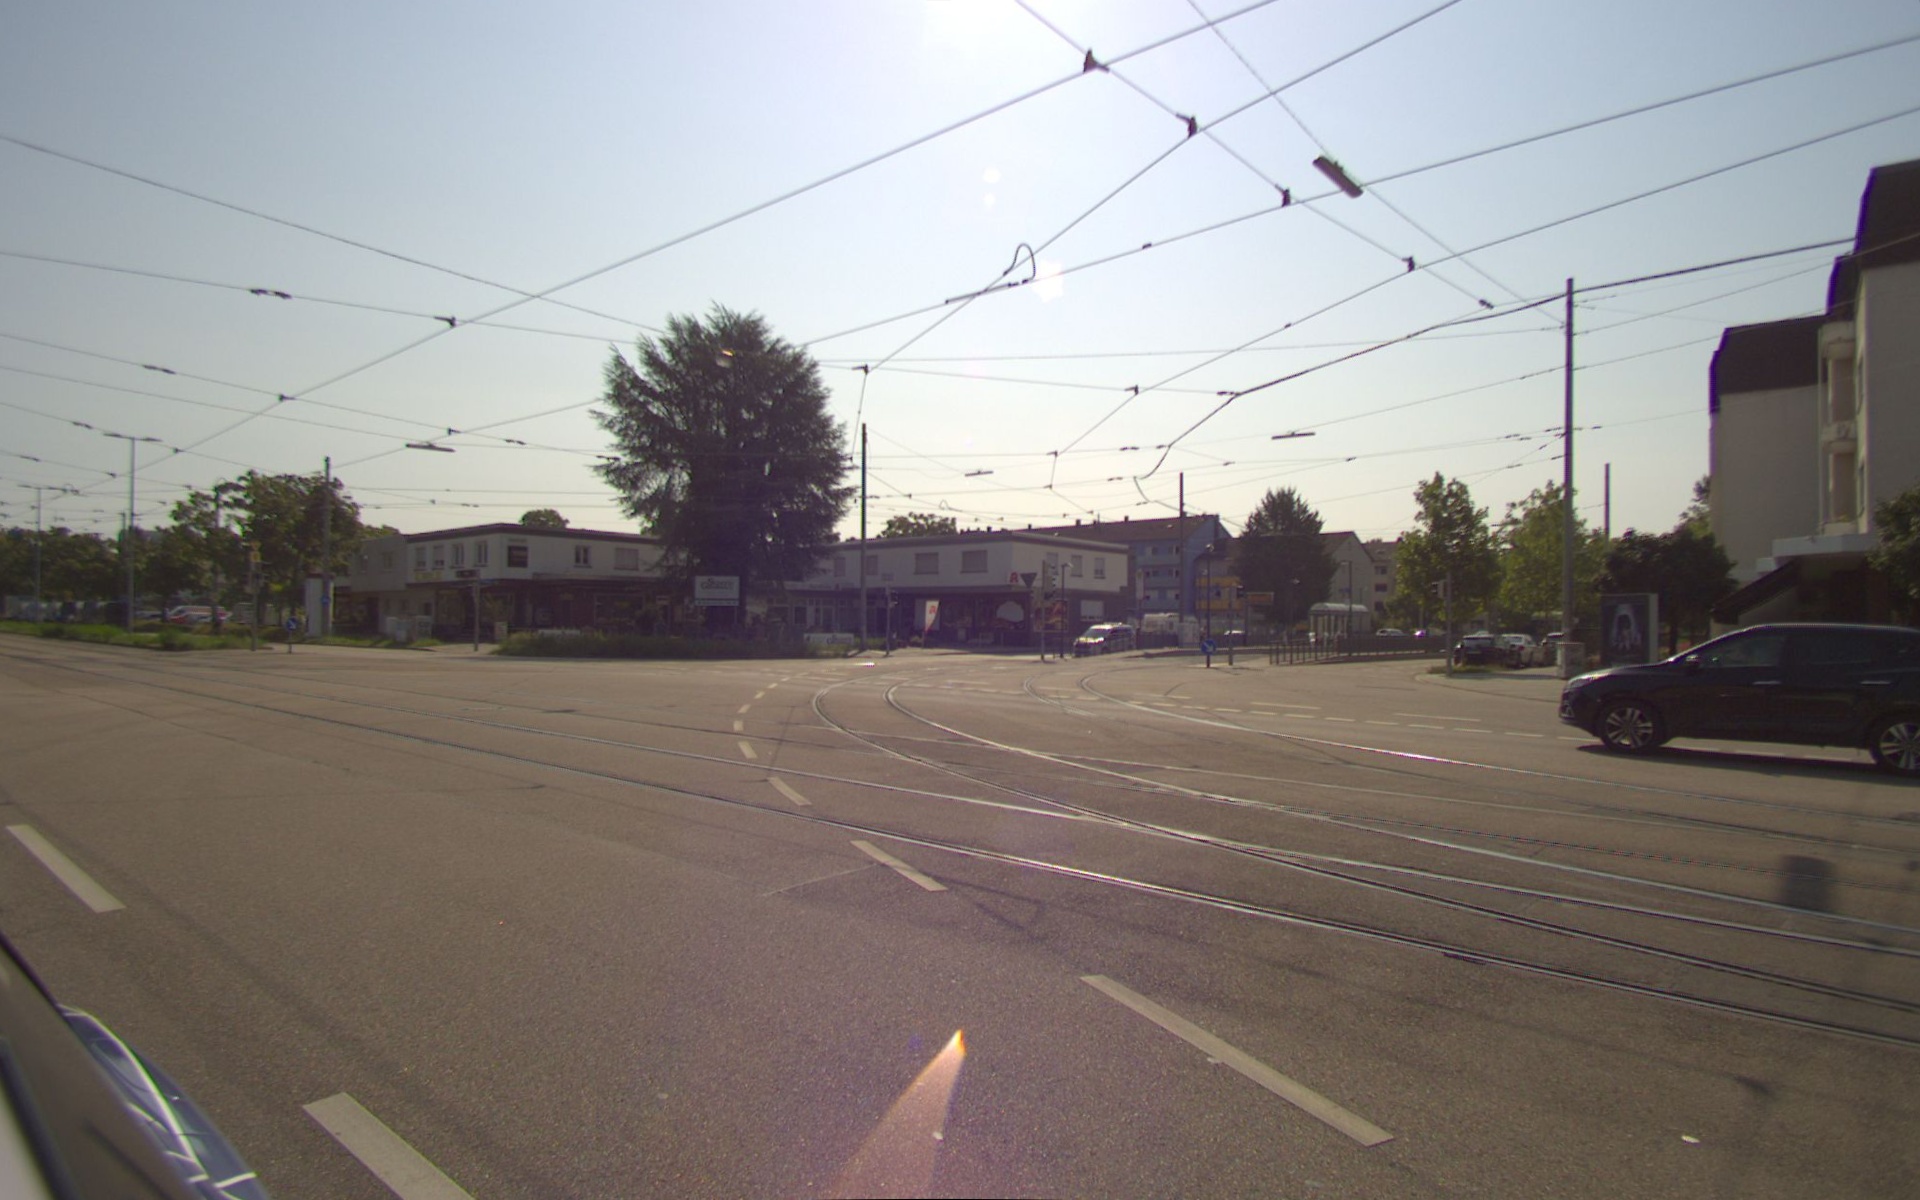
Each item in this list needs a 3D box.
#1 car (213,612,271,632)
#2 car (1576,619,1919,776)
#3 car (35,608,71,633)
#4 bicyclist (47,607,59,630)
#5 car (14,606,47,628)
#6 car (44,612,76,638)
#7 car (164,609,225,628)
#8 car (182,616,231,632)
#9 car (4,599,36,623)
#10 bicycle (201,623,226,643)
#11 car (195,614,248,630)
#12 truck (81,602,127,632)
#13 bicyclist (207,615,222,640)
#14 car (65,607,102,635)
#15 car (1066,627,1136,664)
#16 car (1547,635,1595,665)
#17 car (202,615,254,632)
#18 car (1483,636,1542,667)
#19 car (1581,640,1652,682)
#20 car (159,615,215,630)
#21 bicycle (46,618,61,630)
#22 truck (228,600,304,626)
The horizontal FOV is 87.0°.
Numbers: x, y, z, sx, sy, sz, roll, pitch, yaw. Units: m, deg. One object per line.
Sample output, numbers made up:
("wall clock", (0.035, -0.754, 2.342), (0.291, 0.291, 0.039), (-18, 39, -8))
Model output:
("car", (-70.786, 2.157, 99.847), (1.632, 1.798, 4.354), (-1, -4, 39))
("car", (10.092, 1.104, 12.273), (4.246, 1.667, 1.794), (-1, -3, 41))
("car", (-98.549, 2.211, 109.967), (5.628, 2.606, 2.110), (-1, -4, 41))
("bicyclist", (-84.500, 1.737, 94.314), (0.774, 2.080, 0.631), (-1, -4, 40))
("car", (-109.674, 1.992, 119.371), (4.827, 2.477, 2.121), (-1, -4, 39))
("car", (-93.023, 2.554, 104.572), (5.908, 2.606, 1.803), (-1, -2, 42))
("car", (-86.434, 2.129, 114.332), (2.051, 1.940, 5.133), (-1, -4, 39))
("car", (-80.713, 2.586, 108.436), (1.632, 1.461, 3.884), (-1, -4, 39))
("car", (-116.935, 1.336, 125.846), (7.228, 2.826, 2.102), (-1, -4, 41))
("bicycle", (-47.547, 2.103, 64.459), (2.203, 1.189, 0.570), (-2, -5, 36))
("car", (-76.302, 2.259, 104.591), (1.619, 1.474, 4.125), (-1, -3, 31))
("truck", (-75.982, 1.522, 89.816), (5.735, 2.567, 2.060), (-1, -4, 40))
("bicyclist", (-47.463, 1.742, 64.423), (0.489, 1.534, 0.563), (0, -4, 36))
("car", (-83.531, 1.961, 96.396), (6.466, 2.606, 1.967), (-1, -1, 43))
("car", (7.628, 2.433, 54.555), (1.823, 1.901, 3.970), (-1, -2, 42))
("car", (33.037, 2.696, 54.659), (1.671, 1.492, 3.866), (-1, -4, 39))
("car", (-73.122, 2.383, 101.076), (1.632, 1.530, 3.884), (-1, -4, 39))
("car", (24.878, 2.333, 45.474), (1.671, 1.309, 4.069), (-1, -4, 38))
("car", (26.350, 2.406, 40.575), (1.928, 1.519, 4.068), (-1, -1, 39))
("car", (-84.963, 2.524, 111.300), (1.632, 1.461, 4.607), (-1, -4, 39))
("bicycle", (-84.434, 2.248, 94.214), (2.264, 1.099, 0.707), (-1, -4, 41))
("truck", (-64.986, 1.264, 94.848), (2.257, 2.189, 5.435), (-1, -4, 39))
